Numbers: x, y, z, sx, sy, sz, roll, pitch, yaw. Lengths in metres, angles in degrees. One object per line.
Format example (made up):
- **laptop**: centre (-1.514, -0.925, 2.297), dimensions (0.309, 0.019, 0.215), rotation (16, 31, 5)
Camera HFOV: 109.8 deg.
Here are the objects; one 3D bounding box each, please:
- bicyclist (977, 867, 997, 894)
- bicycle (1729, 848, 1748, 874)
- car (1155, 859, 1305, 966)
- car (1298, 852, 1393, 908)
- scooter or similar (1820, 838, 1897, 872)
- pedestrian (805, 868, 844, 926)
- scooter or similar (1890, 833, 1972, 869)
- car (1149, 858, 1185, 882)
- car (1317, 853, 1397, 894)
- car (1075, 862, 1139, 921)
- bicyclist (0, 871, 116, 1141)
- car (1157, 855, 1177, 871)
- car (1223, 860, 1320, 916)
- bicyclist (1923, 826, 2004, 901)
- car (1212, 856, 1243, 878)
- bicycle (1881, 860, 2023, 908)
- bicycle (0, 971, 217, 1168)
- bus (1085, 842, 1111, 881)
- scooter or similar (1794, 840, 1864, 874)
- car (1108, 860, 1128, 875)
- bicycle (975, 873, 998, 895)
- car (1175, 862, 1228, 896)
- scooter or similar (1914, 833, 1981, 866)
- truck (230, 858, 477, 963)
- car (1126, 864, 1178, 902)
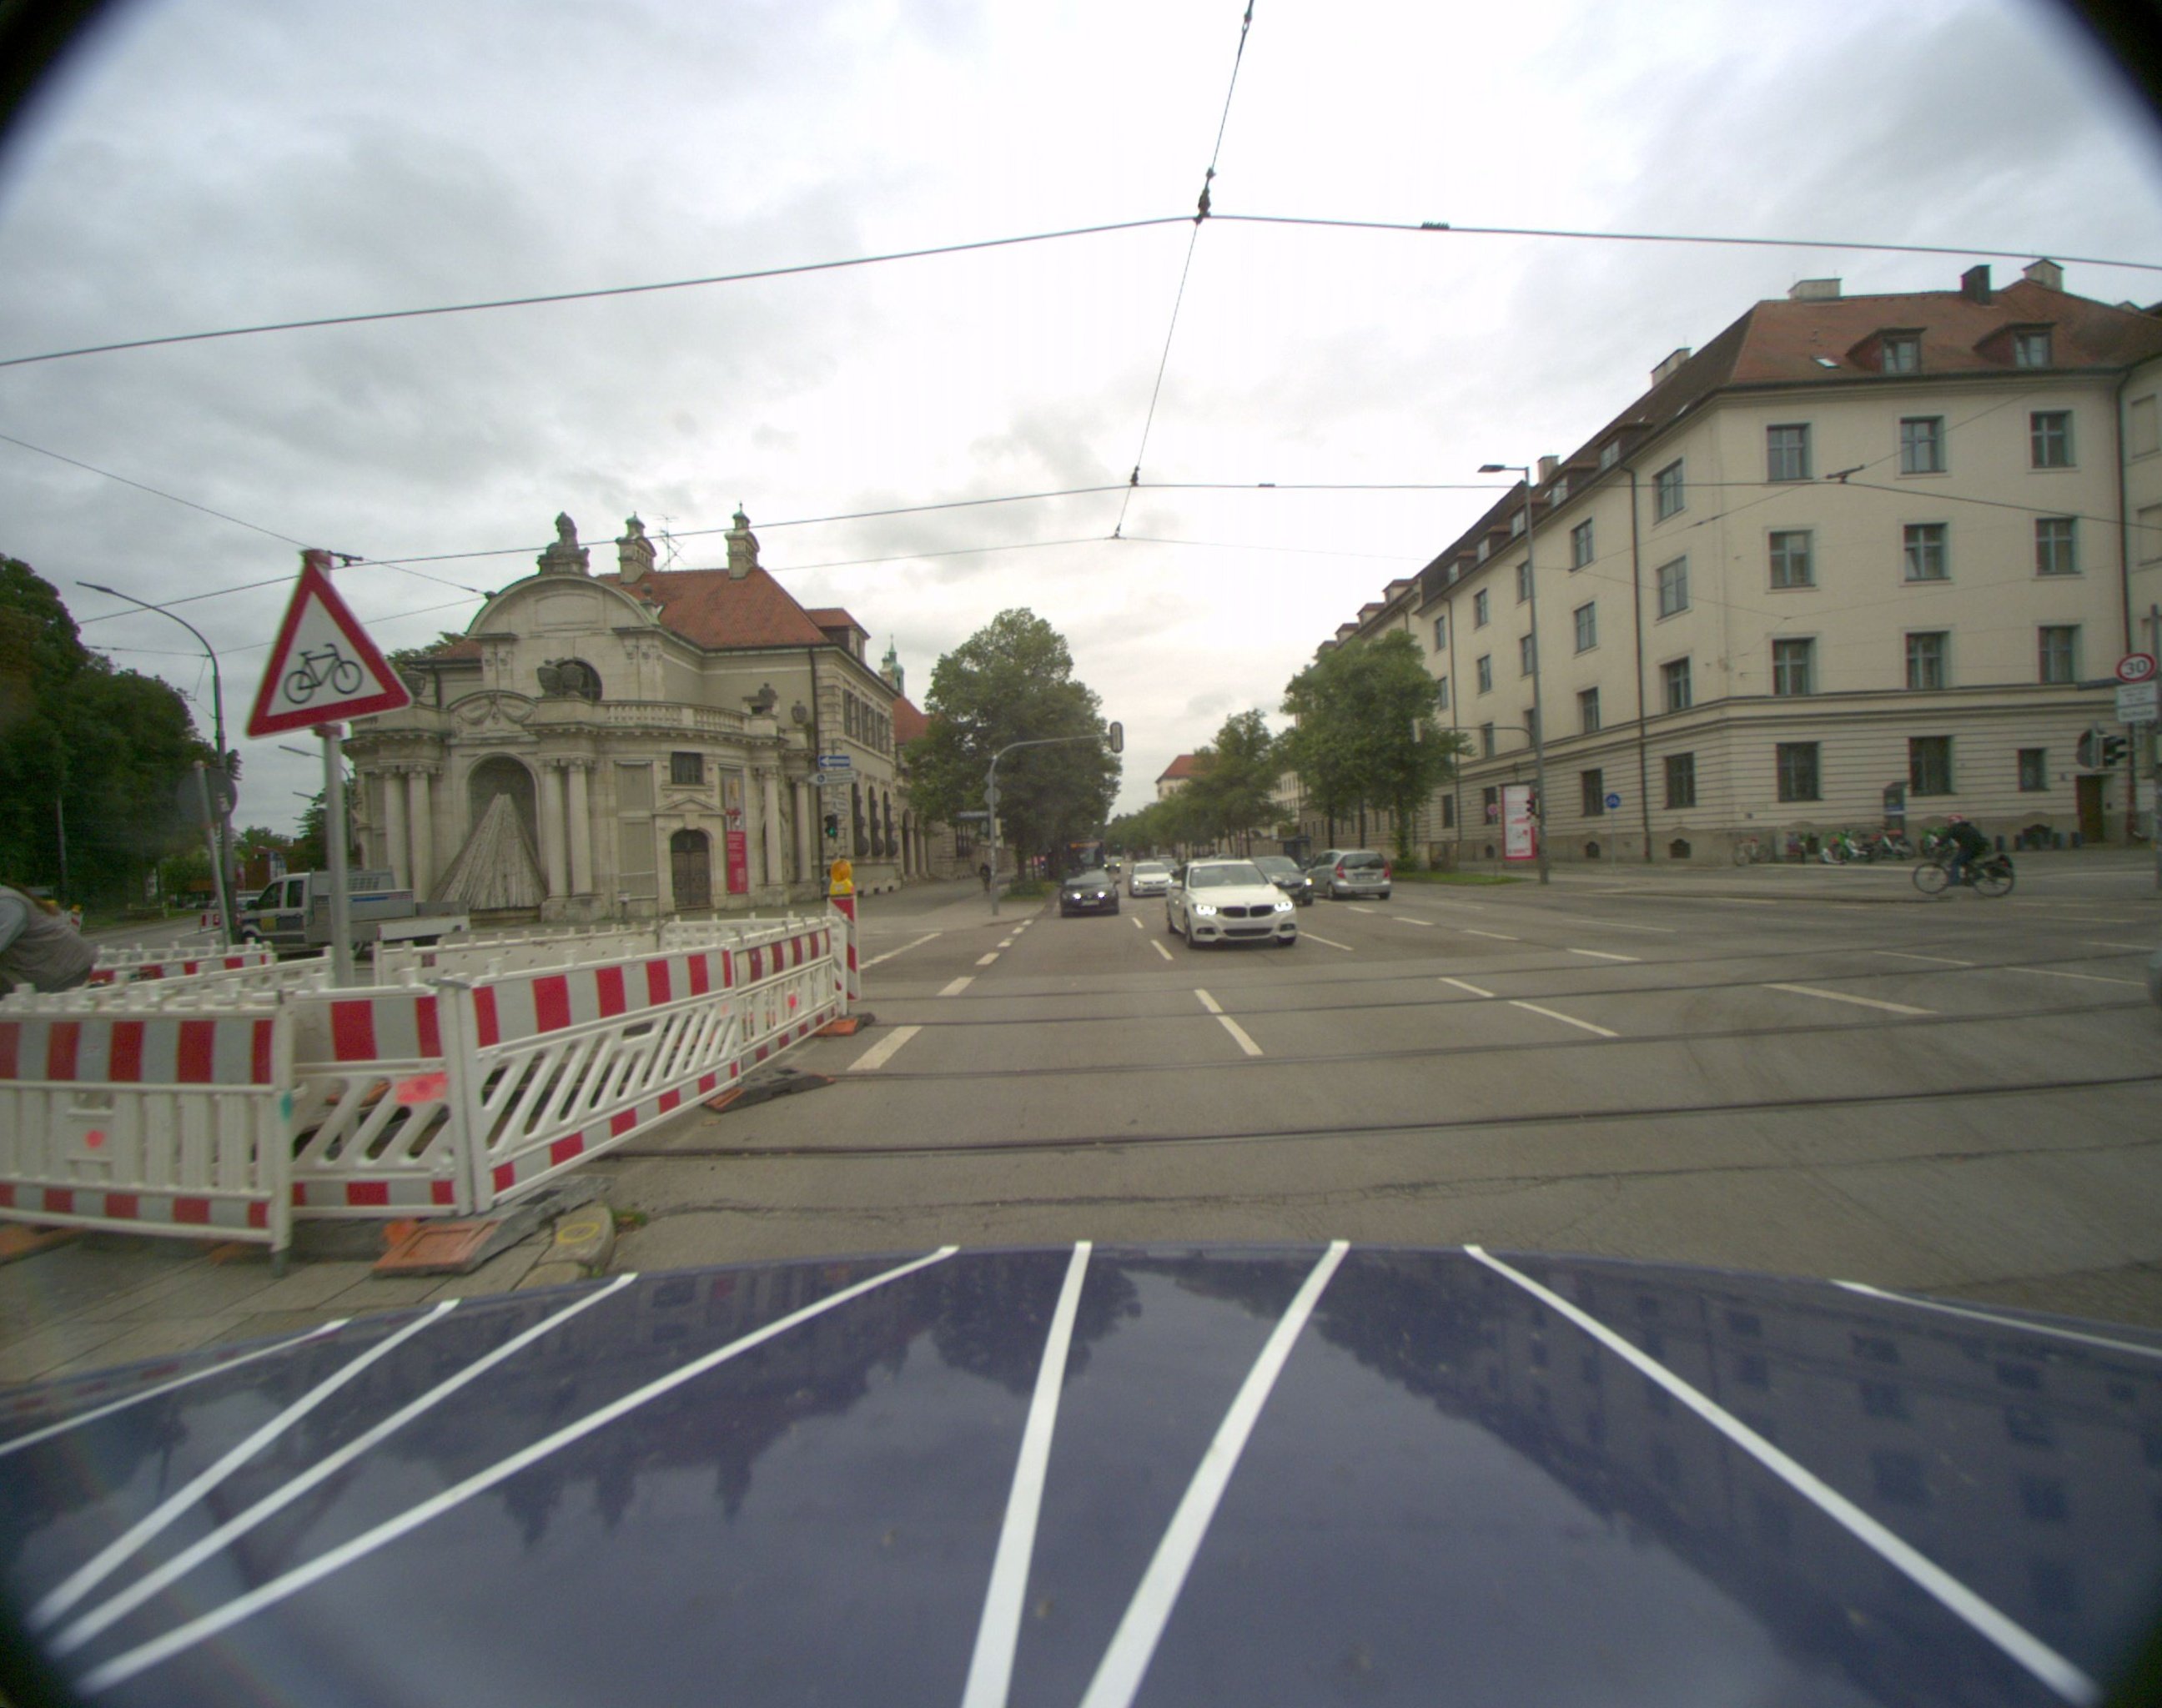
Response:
- **bicyclist**: centre (-4.790, 1.347, 38.726), dimensions (0.808, 1.305, 0.893), rotation (-3, 0, 0)
- **bicycle**: centre (24.857, 0.250, 28.722), dimensions (0.405, 0.941, 1.280), rotation (-3, 0, 37)
- **car**: centre (2.592, 0.936, 14.458), dimensions (1.797, 1.627, 5.026), rotation (-2, 0, 0)
- **car**: centre (8.301, 0.789, 24.221), dimensions (1.638, 1.562, 3.946), rotation (-2, -1, 0)
- **scooter or similar**: centre (27.419, 0.056, 26.832), dimensions (0.690, 1.112, 1.948), rotation (-3, 0, 1)
- **pedestrian**: centre (-8.216, 1.371, 24.366), dimensions (1.068, 1.754, 0.773), rotation (-3, 0, -17)
- **scooter or similar**: centre (29.718, -0.090, 26.607), dimensions (0.690, 1.151, 1.902), rotation (-3, 0, 1)
- **car**: centre (5.539, 0.997, 49.326), dimensions (1.797, 1.439, 4.275), rotation (-2, 0, 0)
- **car**: centre (11.247, 0.762, 31.238), dimensions (1.757, 1.521, 4.227), rotation (-2, 0, 1)
- **car**: centre (0.751, 1.120, 24.172), dimensions (1.797, 1.627, 4.275), rotation (-2, 0, 0)
- **bicyclist**: centre (-7.076, 0.961, 4.780), dimensions (0.758, 1.657, 0.899), rotation (-3, 0, -2)
- **car**: centre (8.835, 0.891, 78.308), dimensions (1.726, 1.577, 4.375), rotation (-2, 0, 2)
- **car**: centre (5.565, 0.936, 22.765), dimensions (1.797, 1.439, 4.275), rotation (-2, 0, 0)
- **bicyclist**: centre (19.380, 0.209, 16.708), dimensions (0.661, 1.569, 0.892), rotation (-3, 0, 1)
- **car**: centre (11.620, 1.037, 60.444), dimensions (1.683, 1.630, 4.165), rotation (-2, -1, 1)
- **bicycle**: centre (19.404, 0.636, 17.015), dimensions (0.663, 0.982, 2.181), rotation (-3, -1, 1)
- **bicycle**: centre (-7.080, 1.437, 4.799), dimensions (0.740, 1.051, 2.163), rotation (-3, 0, -1)
- **bus**: centre (1.156, 0.519, 54.423), dimensions (1.638, 2.569, 6.702), rotation (-2, -1, 0)
- **scooter or similar**: centre (26.582, 0.102, 27.047), dimensions (0.690, 1.112, 1.949), rotation (-3, 0, 6)
- **car**: centre (3.792, 1.342, 78.786), dimensions (1.797, 1.439, 4.275), rotation (-2, 0, 0)
- **bicycle**: centre (-4.800, 1.513, 38.767), dimensions (0.830, 1.001, 2.058), rotation (-3, 0, 0)
- **car**: centre (5.704, 1.164, 36.503), dimensions (1.797, 1.439, 4.275), rotation (-2, 0, 0)
- **scooter or similar**: centre (30.515, -0.147, 26.781), dimensions (0.546, 1.112, 1.547), rotation (-3, 0, 1)
- **truck**: centre (-19.822, 1.536, 20.719), dimensions (5.924, 2.479, 2.297), rotation (-4, 0, 19)
- **car**: centre (2.989, 1.207, 32.693), dimensions (1.797, 1.439, 4.275), rotation (-2, 0, 0)
